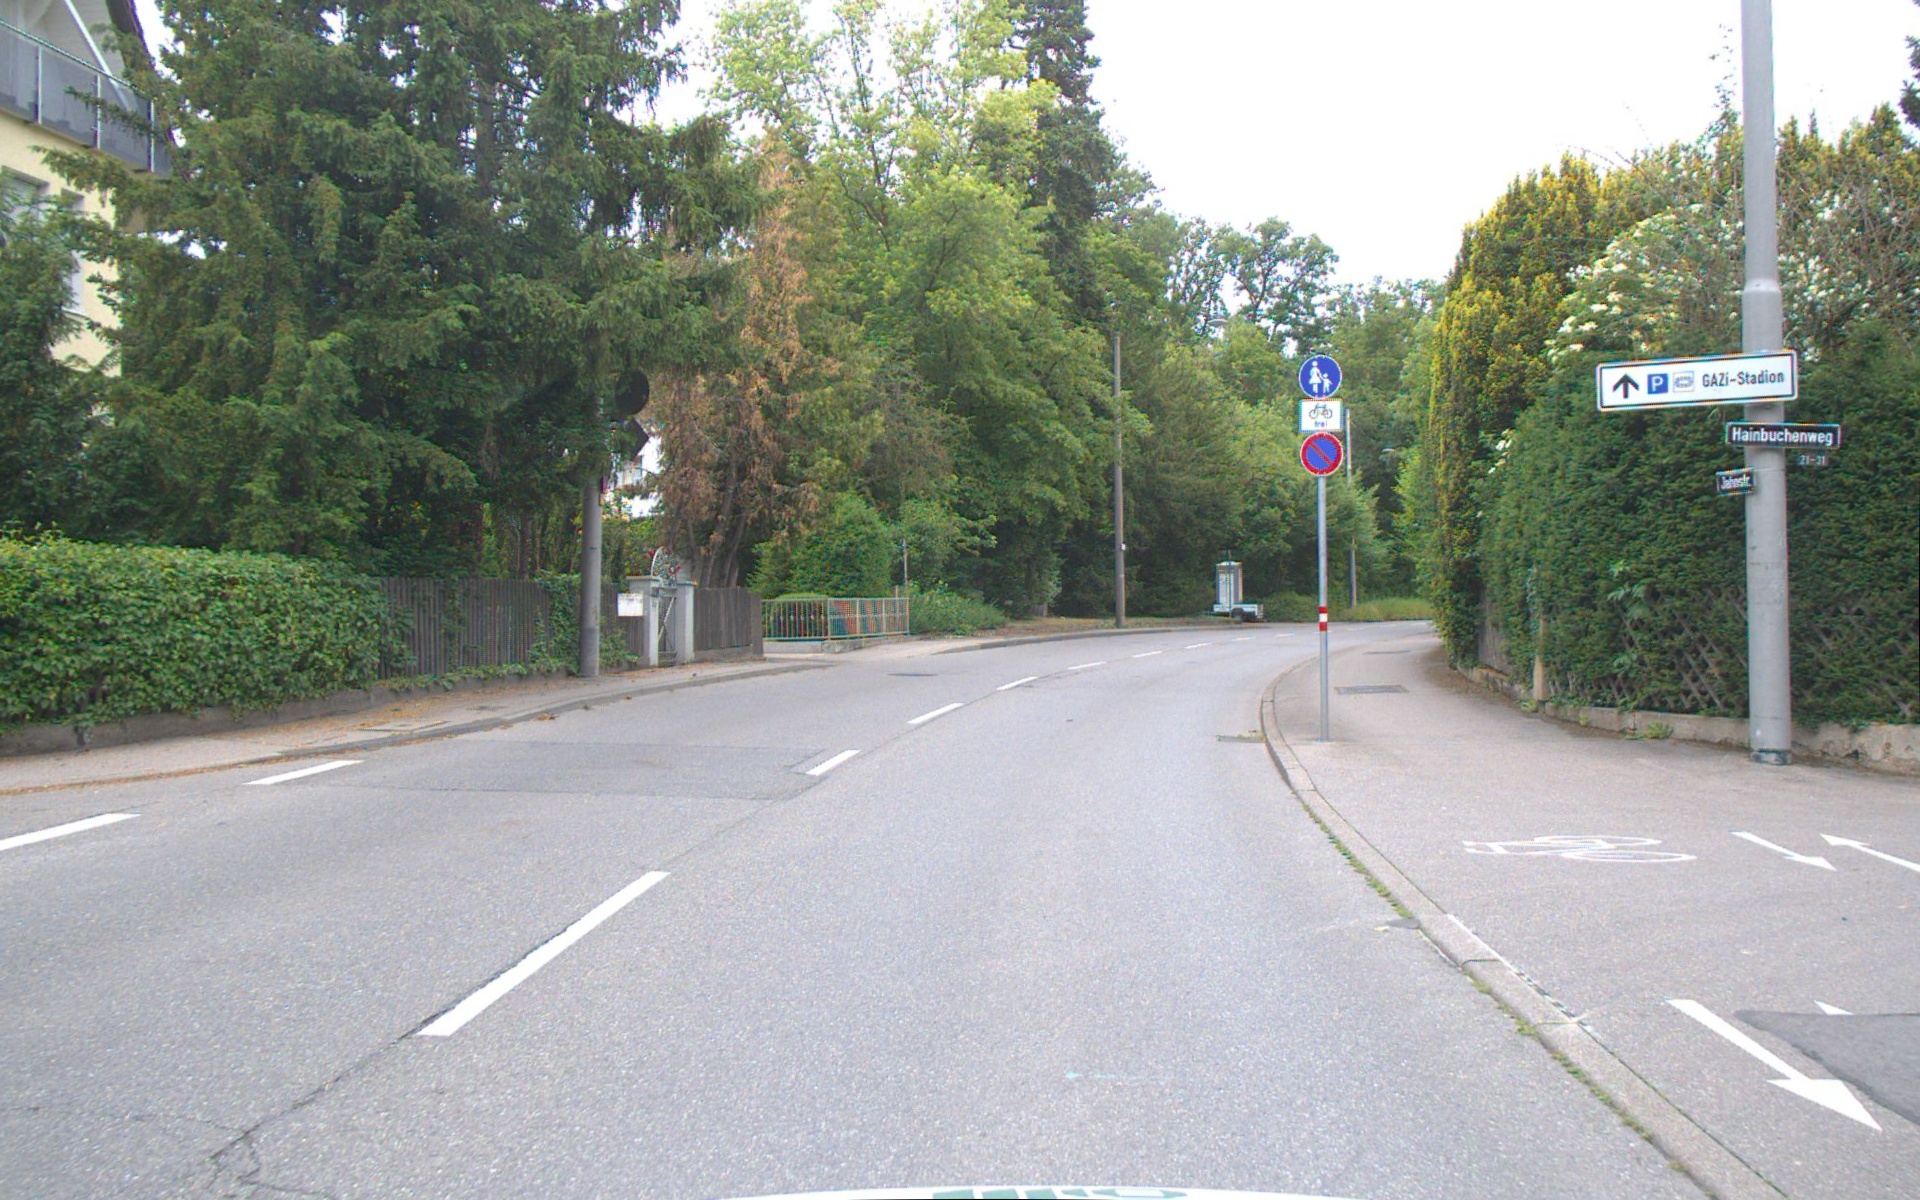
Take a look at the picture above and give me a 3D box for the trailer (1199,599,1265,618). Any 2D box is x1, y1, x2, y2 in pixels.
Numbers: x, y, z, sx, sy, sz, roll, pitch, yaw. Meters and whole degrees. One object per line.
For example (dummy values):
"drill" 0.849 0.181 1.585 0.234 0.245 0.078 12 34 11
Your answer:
"trailer" 12.659 0.414 76.928 2.892 0.843 1.477 -1 -1 15
